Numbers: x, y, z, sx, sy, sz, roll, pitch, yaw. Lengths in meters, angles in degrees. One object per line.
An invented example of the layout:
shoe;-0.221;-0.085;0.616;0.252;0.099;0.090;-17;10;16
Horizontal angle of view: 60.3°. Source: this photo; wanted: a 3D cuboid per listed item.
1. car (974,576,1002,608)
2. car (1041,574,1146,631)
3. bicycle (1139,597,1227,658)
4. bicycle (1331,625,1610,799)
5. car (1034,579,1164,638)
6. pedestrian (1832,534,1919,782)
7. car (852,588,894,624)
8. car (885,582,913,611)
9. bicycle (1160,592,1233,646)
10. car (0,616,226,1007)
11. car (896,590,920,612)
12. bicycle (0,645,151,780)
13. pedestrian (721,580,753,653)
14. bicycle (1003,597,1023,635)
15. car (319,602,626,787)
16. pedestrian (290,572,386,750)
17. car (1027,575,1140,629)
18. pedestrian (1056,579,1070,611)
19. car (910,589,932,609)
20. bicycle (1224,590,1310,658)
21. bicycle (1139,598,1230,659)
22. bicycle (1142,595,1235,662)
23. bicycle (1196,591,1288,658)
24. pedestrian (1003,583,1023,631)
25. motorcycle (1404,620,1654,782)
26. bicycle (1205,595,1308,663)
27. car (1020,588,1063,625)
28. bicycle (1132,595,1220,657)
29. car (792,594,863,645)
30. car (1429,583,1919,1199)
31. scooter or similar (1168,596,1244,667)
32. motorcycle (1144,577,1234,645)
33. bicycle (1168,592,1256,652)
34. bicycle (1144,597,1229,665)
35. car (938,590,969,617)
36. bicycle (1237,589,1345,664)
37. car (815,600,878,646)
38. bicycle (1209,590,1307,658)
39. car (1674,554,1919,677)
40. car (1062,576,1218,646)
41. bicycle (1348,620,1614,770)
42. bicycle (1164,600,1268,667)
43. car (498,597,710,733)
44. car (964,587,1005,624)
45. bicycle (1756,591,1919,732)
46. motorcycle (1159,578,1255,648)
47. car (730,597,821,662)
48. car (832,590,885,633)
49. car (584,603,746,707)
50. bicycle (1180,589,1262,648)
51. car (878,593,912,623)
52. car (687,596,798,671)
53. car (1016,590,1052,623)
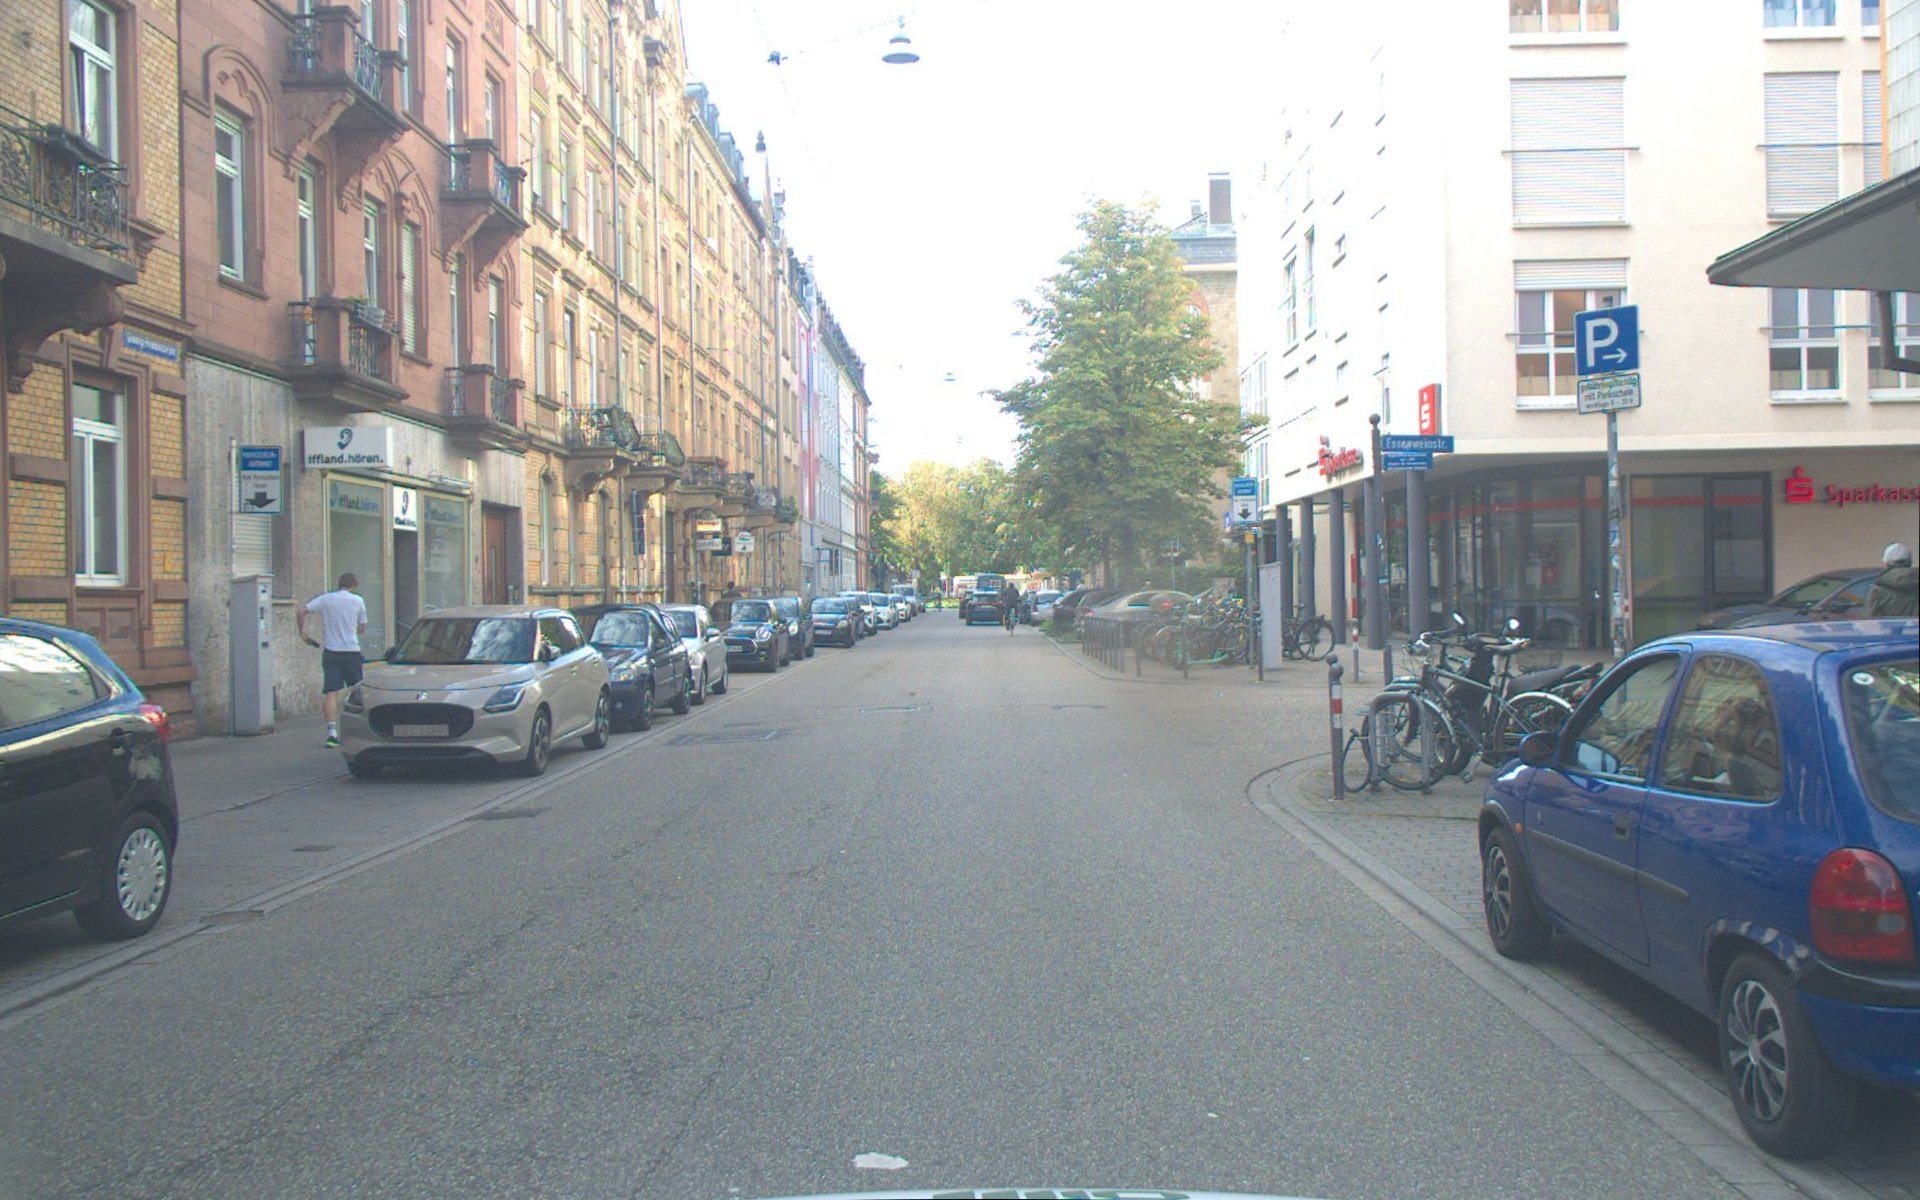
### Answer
car;1.834;-0.544;108.952;1.745;2.055;3.888;0;1;0
car;5.198;0.099;64.429;3.903;1.712;1.740;-4;8;5
bicycle;4.602;0.564;34.188;1.729;1.138;0.411;-4;1;3
bicycle;3.585;0.767;11.715;1.739;1.114;0.680;-3;0;44
car;4.399;0.249;52.227;3.903;1.611;2.001;-3;0;6
pedestrian;6.428;0.370;11.119;0.806;1.616;0.781;-2;0;16
car;-3.915;0.273;74.882;1.655;1.577;3.867;0;0;0
car;-3.920;-0.229;106.152;1.655;1.853;3.867;0;0;0
bicycle;5.677;0.442;39.751;1.630;1.179;0.557;-4;1;2
car;-4.592;0.829;6.251;1.705;1.509;3.985;0;0;3
car;-3.799;0.039;121.288;1.655;1.577;3.867;0;0;0
bicycle;-8.068;0.962;14.655;0.879;1.055;1.772;0;1;2
pedestrian;-5.820;0.409;43.187;0.674;1.885;0.931;0;0;2
bicycle;1.871;0.563;58.290;0.703;1.296;1.884;0;1;2
car;-4.487;0.795;15.848;1.706;1.509;3.984;0;0;1
pedestrian;-6.597;0.629;17.577;0.717;1.821;0.771;2;0;-6
car;4.449;0.066;59.371;3.903;1.668;2.001;-3;0;6
pedestrian;7.444;-0.372;119.271;0.975;2.269;0.899;0;0;1
car;-3.184;-0.071;134.443;1.554;1.566;3.754;0;1;2
bicycle;5.742;0.454;30.959;1.464;1.166;0.411;-4;1;1
bicycle;4.534;0.573;33.444;1.729;1.118;0.411;-4;1;3
bicycle;4.430;0.543;32.081;1.740;1.166;0.409;-4;1;-20
bicycle;5.458;0.472;32.004;1.740;1.166;0.409;-4;1;-20
pedestrian;1.871;0.251;58.380;0.703;1.679;0.930;0;0;1
motorcycle;4.249;0.738;12.424;1.637;1.114;0.604;-3;0;44
bicycle;5.399;0.518;30.179;1.729;1.106;0.650;-4;1;3
car;3.762;0.276;76.706;1.890;1.666;4.001;0;1;1
bicycle;4.584;0.552;35.122;1.757;1.179;0.500;-4;1;3
car;-3.985;0.563;50.261;1.655;1.393;3.868;3;1;1
car;3.001;0.703;5.945;1.562;1.464;4.031;-2;1;2
scooter or similar;4.299;0.552;28.935;1.184;1.167;0.378;-3;2;33
motorcycle;5.709;0.268;41.350;2.105;1.557;0.686;-4;1;5
bicycle;5.407;0.480;35.520;1.759;1.179;0.500;-3;1;27
bicycle;4.225;0.568;30.918;1.466;1.166;0.411;-4;1;-5
car;-0.364;0.182;95.626;1.760;1.497;3.888;0;1;0
bicycle;5.811;0.456;29.127;1.729;1.182;0.650;-4;1;3
car;-3.770;0.756;55.479;1.655;1.393;3.868;2;0;2
bicycle;5.670;0.454;31.498;1.731;1.166;0.411;-4;1;-5
car;13.219;0.194;24.770;4.271;1.658;1.809;-1;2;2
car;4.723;0.298;43.634;3.692;1.573;1.727;-3;-1;-10
bicycle;4.188;0.750;13.406;1.929;1.114;0.686;-3;-1;44
bicycle;4.566;0.593;29.545;1.731;1.075;0.411;-4;1;-5
car;-4.353;0.734;20.802;1.705;1.509;3.984;0;0;2
car;1.205;0.280;80.660;1.924;1.771;4.041;-1;-1;1
bicycle;8.177;0.539;15.236;0.523;1.212;1.930;-1;-1;-8
motorcycle;5.723;0.291;38.405;2.105;1.459;0.766;-4;1;5
car;-4.377;0.668;39.810;1.655;1.462;3.868;0;0;2
car;-3.817;0.414;62.573;1.655;1.577;3.868;-1;0;2
car;-4.371;0.767;25.009;1.655;1.411;3.868;0;0;2
bicycle;5.756;0.413;36.510;1.696;1.179;0.500;-4;1;2
car;-3.512;0.429;89.657;1.655;1.577;3.867;0;0;0
car;-4.383;0.639;33.780;1.655;1.411;3.868;0;0;2
car;3.612;0.299;81.128;1.655;1.577;3.689;0;0;2
